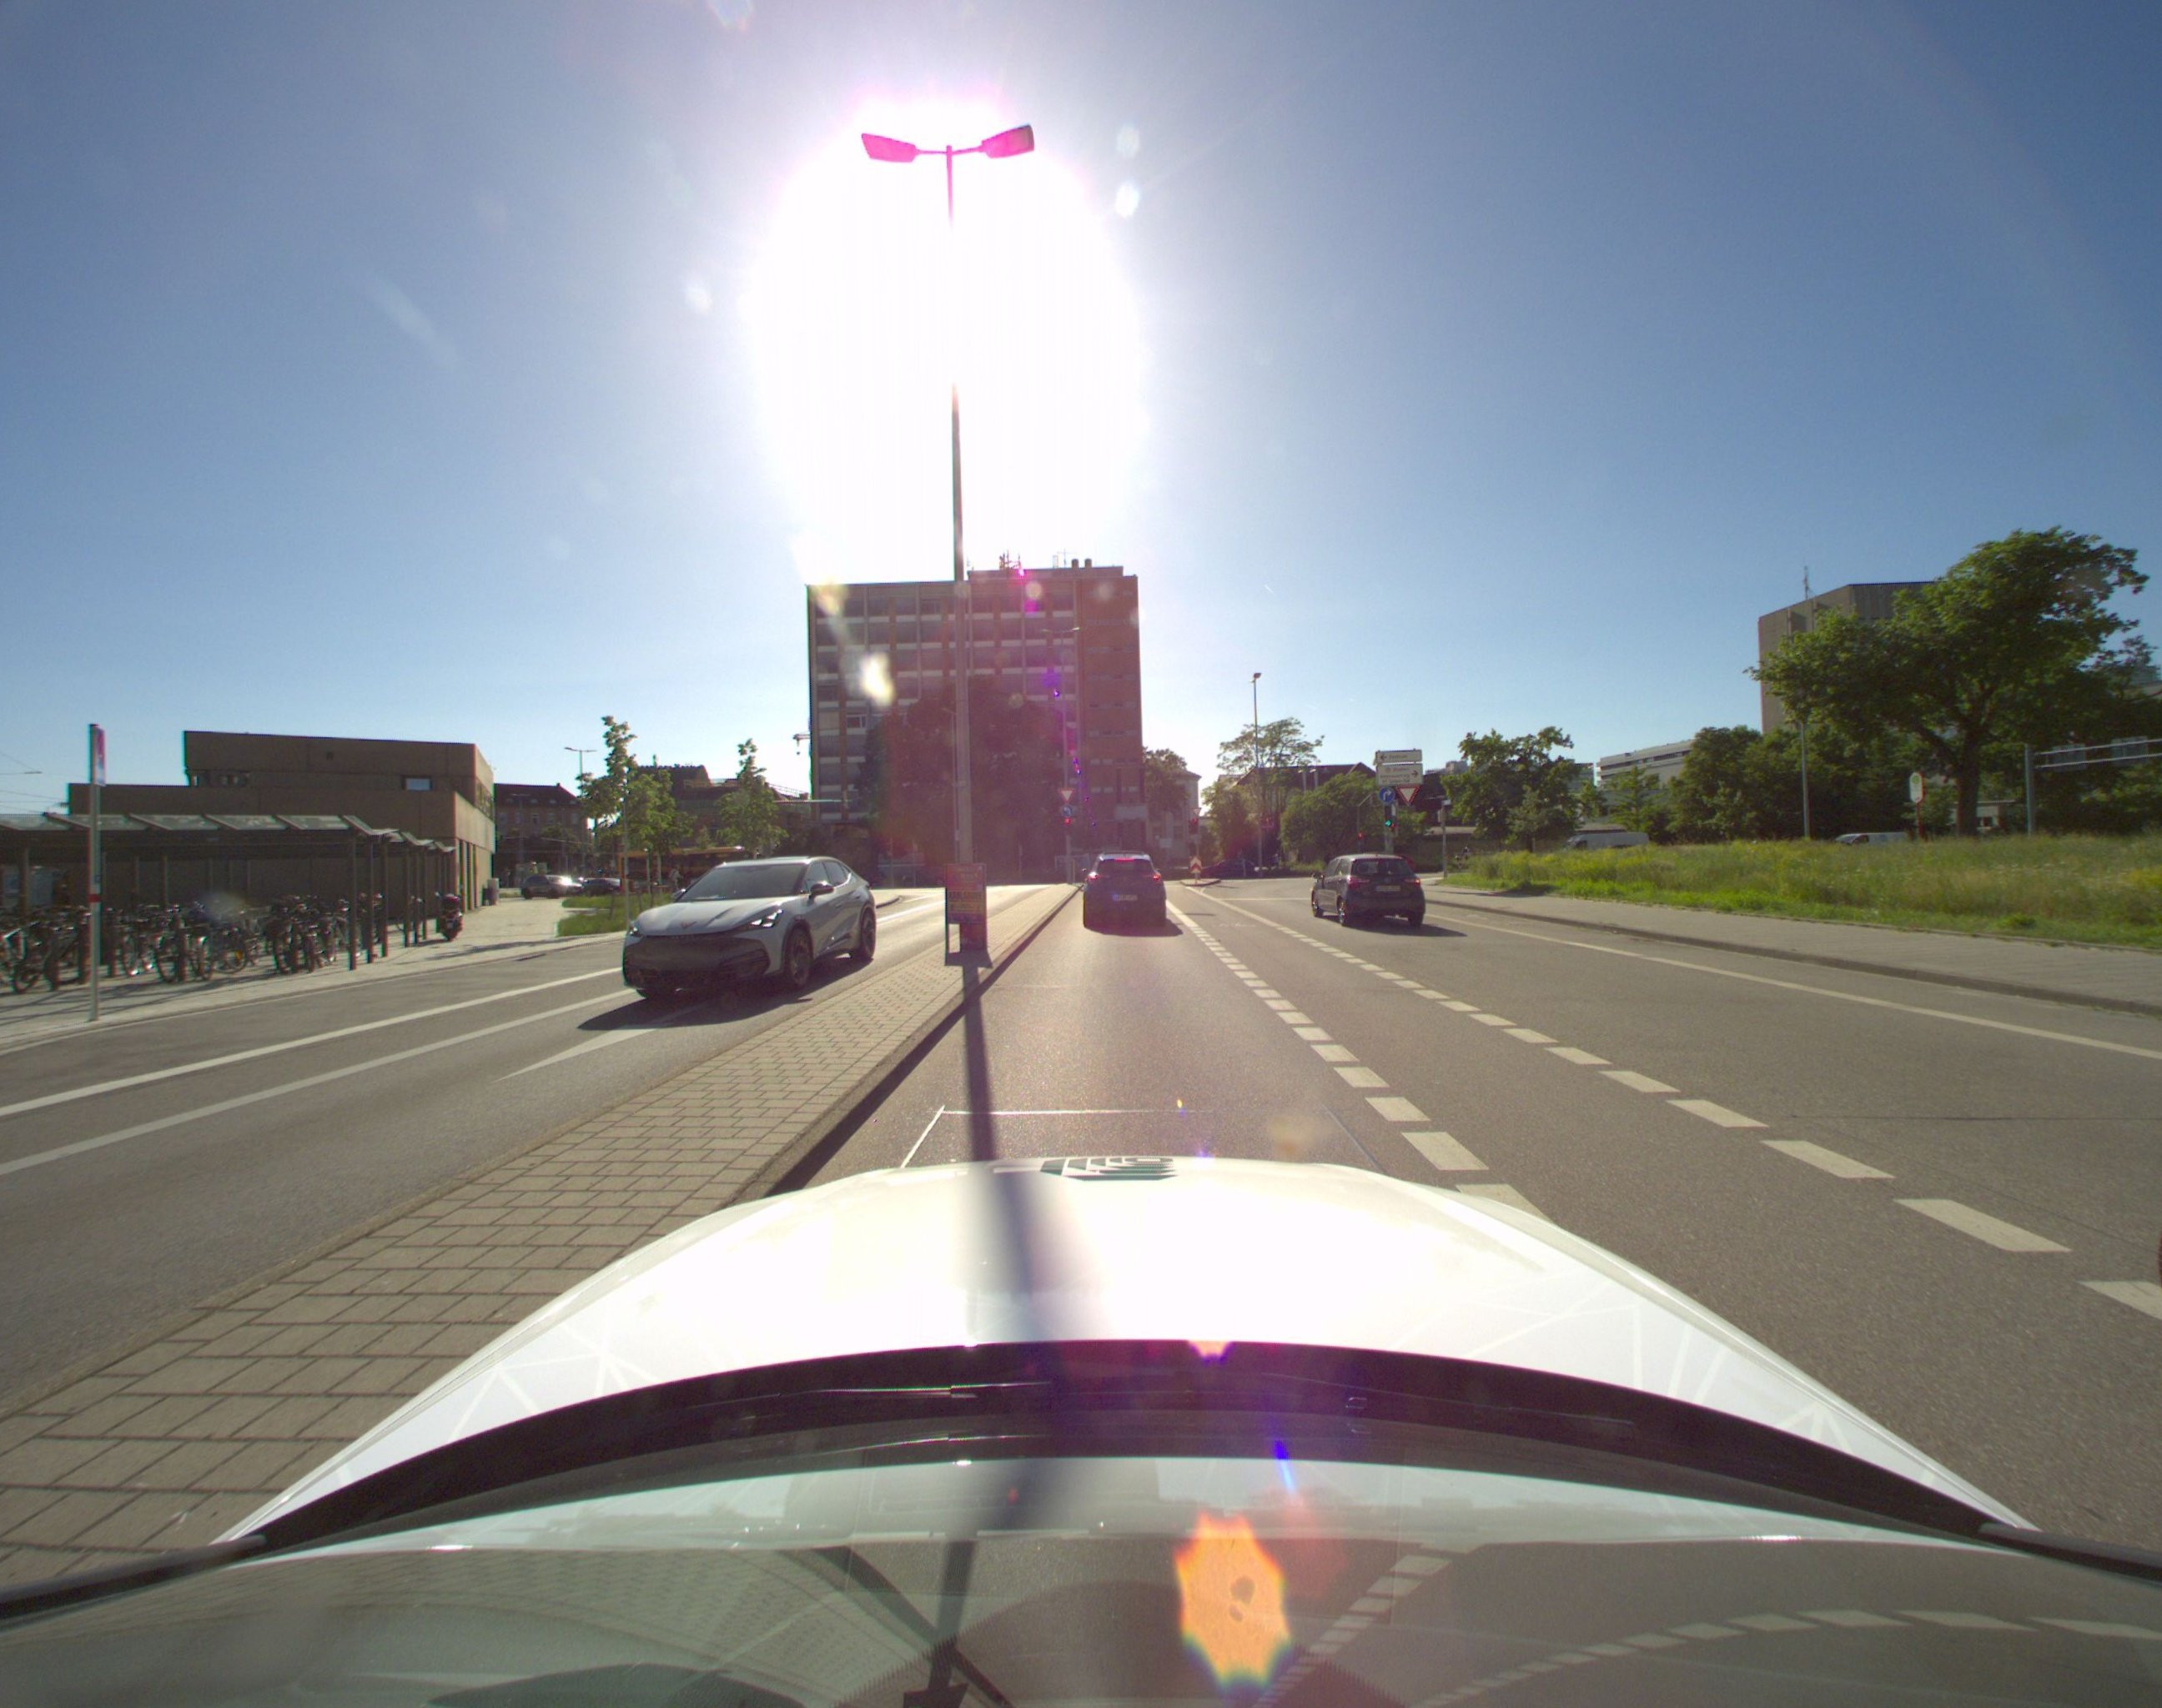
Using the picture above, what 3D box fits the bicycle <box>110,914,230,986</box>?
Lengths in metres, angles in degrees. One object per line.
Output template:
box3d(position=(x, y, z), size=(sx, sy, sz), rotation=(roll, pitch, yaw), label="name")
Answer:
box3d(position=(-14.380, 1.481, 12.927), size=(0.584, 0.961, 2.039), rotation=(0, -2, -28), label="bicycle")

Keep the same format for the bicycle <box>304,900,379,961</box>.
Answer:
box3d(position=(-14.071, 1.419, 15.541), size=(0.584, 1.052, 1.954), rotation=(0, -2, -28), label="bicycle")

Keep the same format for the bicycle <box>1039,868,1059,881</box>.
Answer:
box3d(position=(-2.748, 1.747, 70.337), size=(1.678, 1.093, 0.604), rotation=(-1, 0, -35), label="bicycle")

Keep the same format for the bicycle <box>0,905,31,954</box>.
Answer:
box3d(position=(-25.192, 1.751, 18.708), size=(0.569, 1.093, 2.009), rotation=(0, -2, -30), label="bicycle")

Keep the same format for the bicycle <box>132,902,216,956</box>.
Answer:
box3d(position=(-20.471, 1.663, 18.430), size=(0.584, 1.088, 2.039), rotation=(0, -2, -28), label="bicycle")

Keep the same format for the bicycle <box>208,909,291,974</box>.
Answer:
box3d(position=(-15.080, 1.555, 14.821), size=(0.584, 1.058, 1.798), rotation=(0, -2, -30), label="bicycle")

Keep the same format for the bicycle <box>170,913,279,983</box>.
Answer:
box3d(position=(-13.830, 1.480, 13.218), size=(0.584, 0.961, 2.039), rotation=(0, -2, -28), label="bicycle")

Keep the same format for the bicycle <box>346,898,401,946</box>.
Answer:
box3d(position=(-17.494, 1.660, 20.171), size=(0.584, 1.088, 1.997), rotation=(0, -2, -28), label="bicycle")

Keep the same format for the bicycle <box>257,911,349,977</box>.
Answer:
box3d(position=(-13.073, 1.482, 13.748), size=(0.584, 0.961, 2.039), rotation=(0, -2, -28), label="bicycle")

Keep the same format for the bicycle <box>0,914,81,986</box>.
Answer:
box3d(position=(-17.282, 1.550, 13.298), size=(0.584, 1.058, 1.798), rotation=(0, -2, -30), label="bicycle")

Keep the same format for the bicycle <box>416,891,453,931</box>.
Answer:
box3d(position=(-18.680, 1.626, 23.557), size=(0.584, 1.088, 1.853), rotation=(0, -2, -30), label="bicycle")

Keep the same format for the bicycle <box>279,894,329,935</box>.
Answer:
box3d(position=(-22.416, 1.728, 23.528), size=(0.584, 1.088, 1.853), rotation=(0, -2, -30), label="bicycle")

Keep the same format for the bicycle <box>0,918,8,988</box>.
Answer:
box3d(position=(-16.338, 1.478, 11.614), size=(0.584, 1.058, 1.798), rotation=(0, -2, -30), label="bicycle")

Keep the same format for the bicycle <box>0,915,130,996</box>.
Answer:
box3d(position=(-15.219, 1.475, 12.226), size=(0.584, 1.058, 1.799), rotation=(0, -2, -28), label="bicycle")

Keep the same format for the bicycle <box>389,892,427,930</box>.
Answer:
box3d(position=(-20.502, 1.709, 24.834), size=(0.584, 1.088, 1.853), rotation=(0, -2, -30), label="bicycle")

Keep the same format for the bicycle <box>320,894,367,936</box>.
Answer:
box3d(position=(-20.391, 1.673, 22.552), size=(0.584, 1.088, 1.853), rotation=(0, -2, -30), label="bicycle")

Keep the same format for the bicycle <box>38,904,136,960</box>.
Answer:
box3d(position=(-21.640, 1.665, 17.777), size=(0.584, 1.088, 2.039), rotation=(0, -2, -28), label="bicycle")

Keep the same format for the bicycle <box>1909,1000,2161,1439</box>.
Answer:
box3d(position=(2.992, 0.945, 1.654), size=(0.720, 0.960, 1.884), rotation=(-1, 0, 1), label="bicycle")

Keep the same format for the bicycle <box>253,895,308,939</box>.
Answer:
box3d(position=(-21.453, 1.672, 21.861), size=(0.584, 1.088, 1.853), rotation=(0, -2, -30), label="bicycle")

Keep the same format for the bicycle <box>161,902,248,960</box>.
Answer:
box3d(position=(-18.382, 1.581, 17.133), size=(0.584, 1.088, 2.039), rotation=(0, -2, -28), label="bicycle")

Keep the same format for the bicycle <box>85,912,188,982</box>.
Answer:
box3d(position=(-16.129, 1.548, 13.959), size=(0.584, 1.058, 1.798), rotation=(0, -2, -30), label="bicycle")

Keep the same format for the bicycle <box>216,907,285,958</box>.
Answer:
box3d(position=(-19.502, 1.815, 19.163), size=(0.584, 1.088, 1.883), rotation=(0, -2, -28), label="bicycle")

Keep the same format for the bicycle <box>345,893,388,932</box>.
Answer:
box3d(position=(-21.323, 1.732, 24.323), size=(0.584, 1.088, 1.853), rotation=(0, -2, -30), label="bicycle")

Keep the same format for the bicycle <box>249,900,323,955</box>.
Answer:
box3d(position=(-17.357, 1.583, 17.827), size=(0.584, 1.088, 2.039), rotation=(0, -2, -28), label="bicycle")

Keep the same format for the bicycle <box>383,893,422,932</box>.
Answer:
box3d(position=(-20.463, 1.740, 24.596), size=(0.584, 1.088, 1.853), rotation=(0, -2, -30), label="bicycle")

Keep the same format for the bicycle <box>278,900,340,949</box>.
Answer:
box3d(position=(-18.564, 1.664, 19.617), size=(0.584, 1.088, 1.911), rotation=(0, -2, -28), label="bicycle")

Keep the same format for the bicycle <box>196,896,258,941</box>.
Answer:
box3d(position=(-22.361, 1.673, 21.353), size=(0.584, 1.088, 1.853), rotation=(0, -2, -30), label="bicycle")

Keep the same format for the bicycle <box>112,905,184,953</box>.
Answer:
box3d(position=(-23.491, 1.859, 20.544), size=(0.584, 1.088, 1.853), rotation=(0, -2, -30), label="bicycle")

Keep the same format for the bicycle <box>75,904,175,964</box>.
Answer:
box3d(position=(-19.315, 1.579, 16.516), size=(0.584, 1.088, 2.039), rotation=(0, -2, -28), label="bicycle")

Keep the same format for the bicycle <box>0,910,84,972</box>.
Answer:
box3d(position=(-20.320, 1.655, 15.729), size=(0.584, 1.088, 2.039), rotation=(0, -2, -28), label="bicycle")

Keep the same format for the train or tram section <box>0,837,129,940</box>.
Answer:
box3d(position=(-40.648, 1.300, 31.032), size=(2.891, 3.508, 10.432), rotation=(-1, -1, -33), label="train or tram section")

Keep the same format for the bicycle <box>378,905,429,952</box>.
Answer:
box3d(position=(-15.583, 1.691, 18.764), size=(0.584, 0.961, 2.038), rotation=(0, -2, -31), label="bicycle")

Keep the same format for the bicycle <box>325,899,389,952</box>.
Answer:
box3d(position=(-16.239, 1.576, 18.307), size=(0.584, 1.088, 2.039), rotation=(0, -2, -28), label="bicycle")
